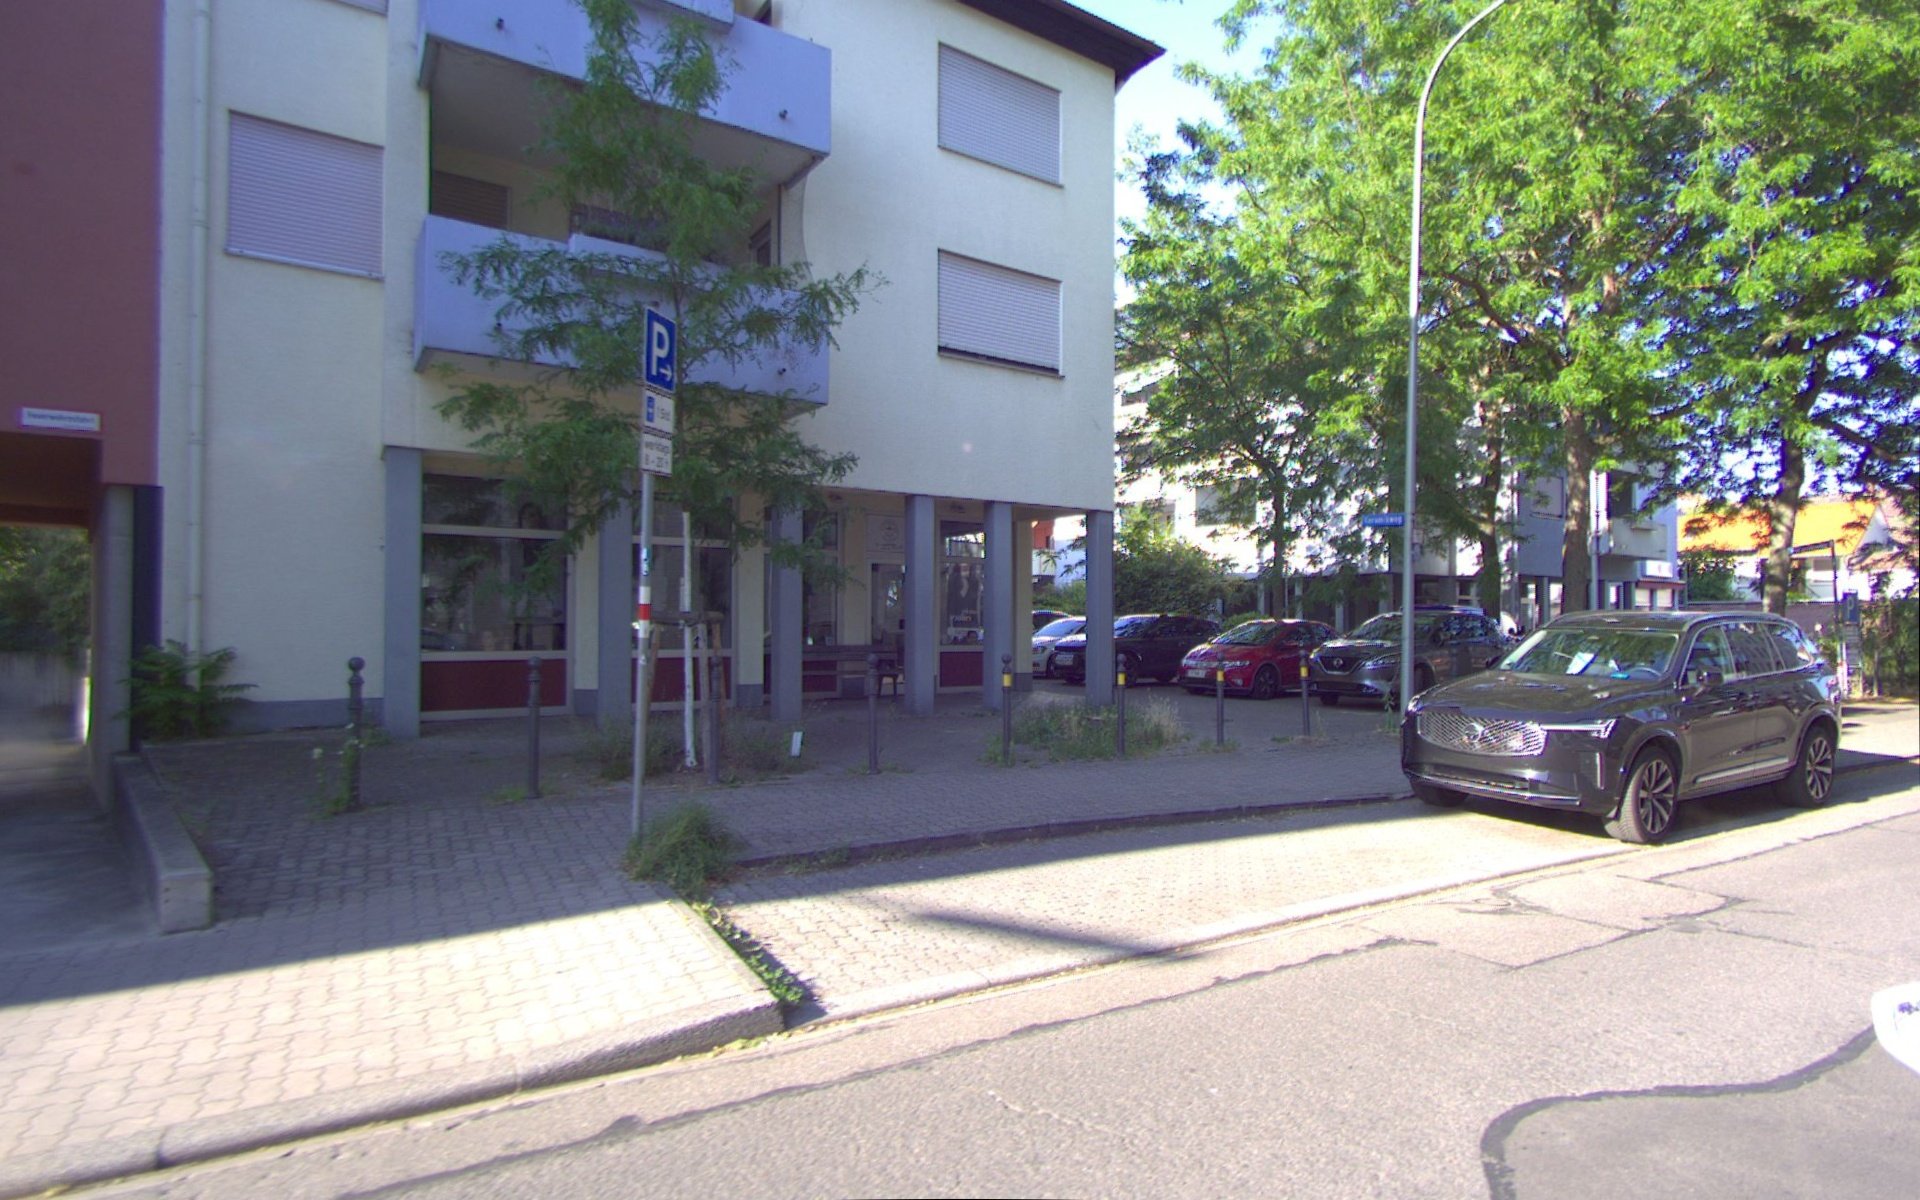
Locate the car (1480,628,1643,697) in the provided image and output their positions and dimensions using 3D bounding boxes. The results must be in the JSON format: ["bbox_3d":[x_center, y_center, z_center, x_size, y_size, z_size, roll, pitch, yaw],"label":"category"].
[{"bbox_3d":[15.208,1.527,25.379,3.767,1.596,2.063,0,-2,-32],"label":"car"}]

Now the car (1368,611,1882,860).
[{"bbox_3d":[6.198,0.982,9.185,5.041,1.728,1.922,1,0,-31],"label":"car"}]

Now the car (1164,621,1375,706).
[{"bbox_3d":[6.013,1.159,19.266,4.390,1.460,1.565,1,-3,-37],"label":"car"}]

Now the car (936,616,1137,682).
[{"bbox_3d":[2.069,1.232,26.515,5.126,1.580,1.929,0,-1,-31],"label":"car"}]

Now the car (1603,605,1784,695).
[{"bbox_3d":[17.437,1.115,23.806,4.853,1.920,1.833,0,-2,-33],"label":"car"}]

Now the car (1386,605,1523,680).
[{"bbox_3d":[14.219,1.194,28.806,4.290,1.973,2.000,1,-2,-41],"label":"car"}]

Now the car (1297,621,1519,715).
[{"bbox_3d":[7.534,1.089,16.849,3.594,1.426,1.515,0,-3,-28],"label":"car"}]

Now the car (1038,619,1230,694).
[{"bbox_3d":[3.697,1.161,21.267,3.765,1.459,1.679,0,-3,-28],"label":"car"}]

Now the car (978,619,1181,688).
[{"bbox_3d":[2.952,1.224,24.476,4.780,1.495,1.982,1,0,-33],"label":"car"}]
